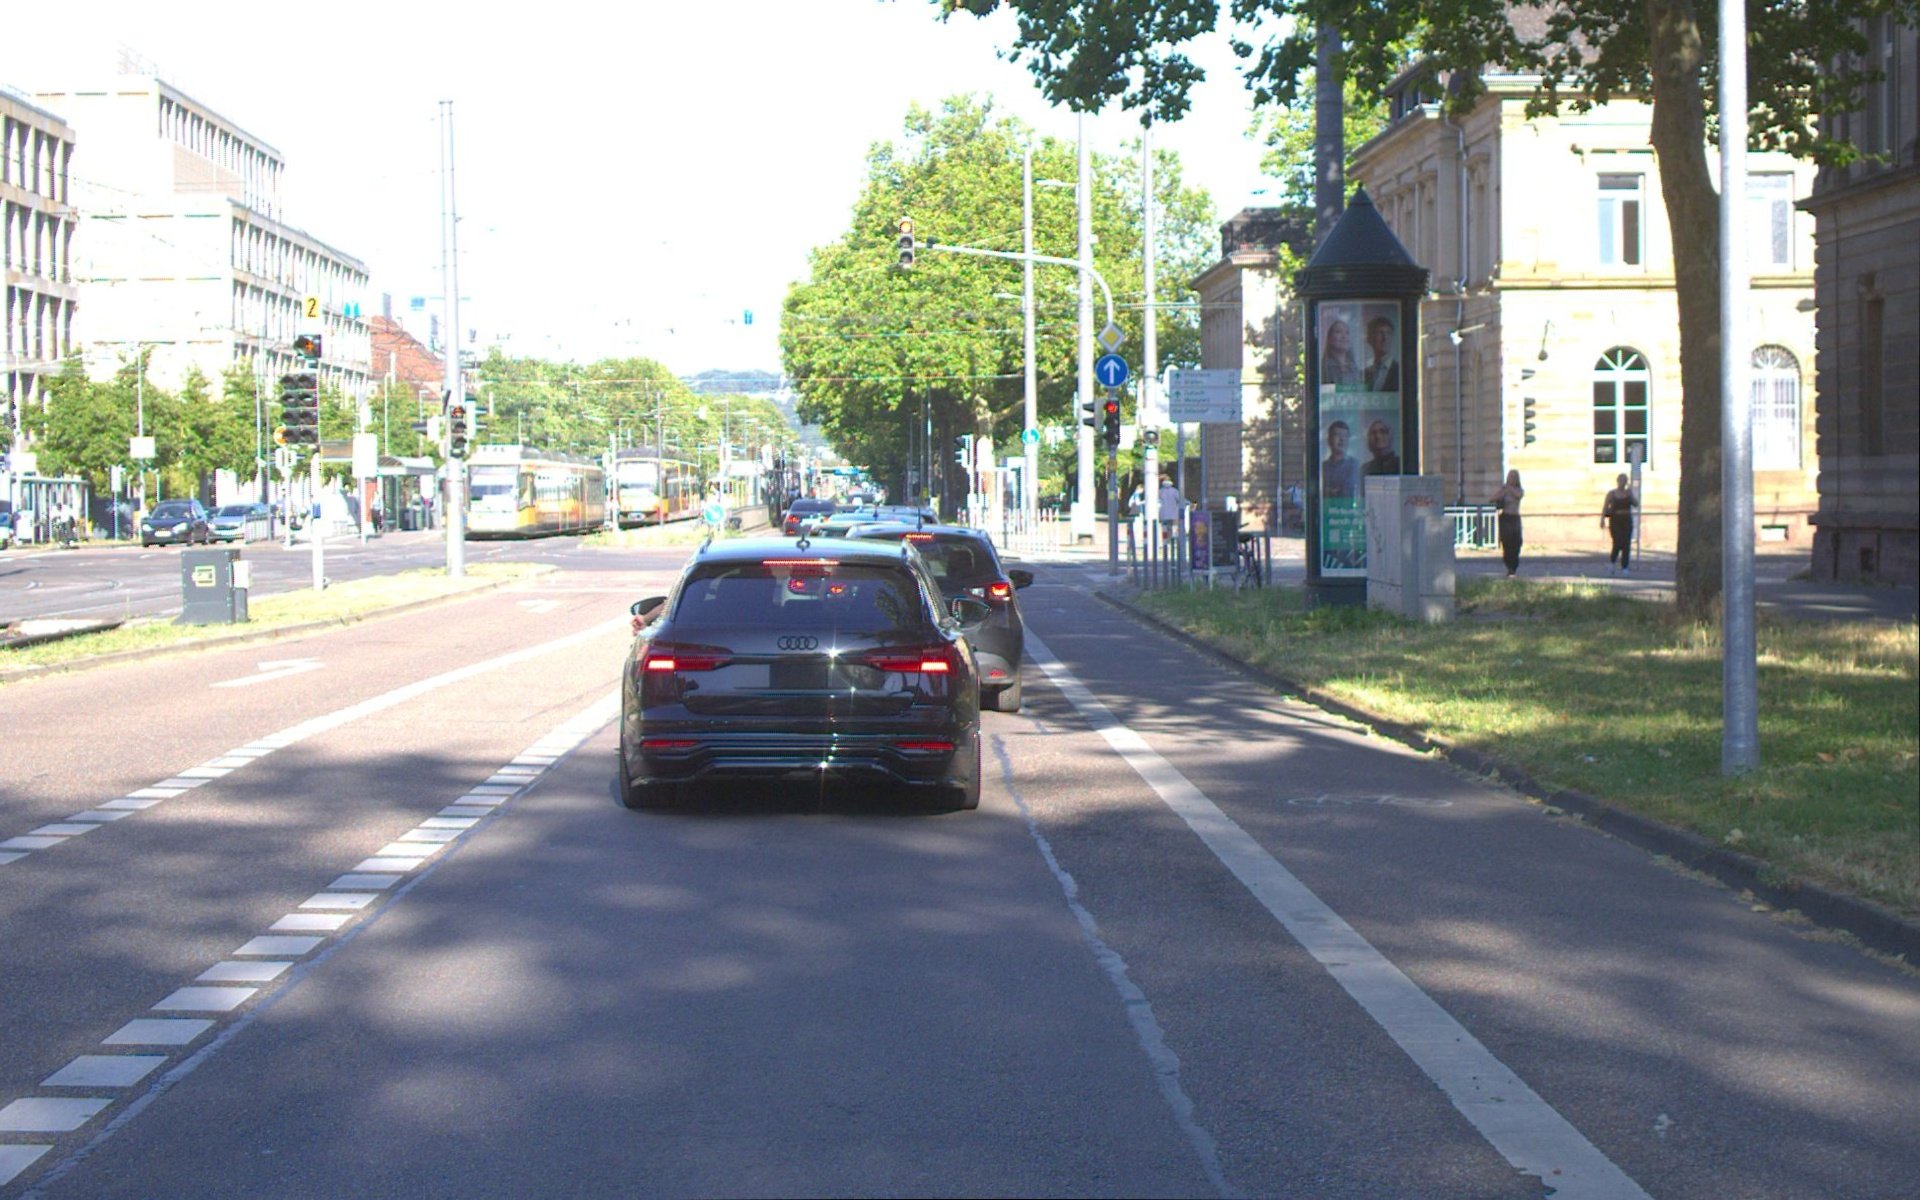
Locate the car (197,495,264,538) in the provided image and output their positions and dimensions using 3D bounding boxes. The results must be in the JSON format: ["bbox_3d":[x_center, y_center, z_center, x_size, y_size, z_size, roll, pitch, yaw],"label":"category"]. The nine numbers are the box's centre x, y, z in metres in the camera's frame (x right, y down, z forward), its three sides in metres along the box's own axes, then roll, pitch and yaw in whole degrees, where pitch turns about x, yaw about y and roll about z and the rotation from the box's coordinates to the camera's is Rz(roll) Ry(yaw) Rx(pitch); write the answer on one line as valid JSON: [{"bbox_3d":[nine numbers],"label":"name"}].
[{"bbox_3d":[-26.692,-3.064,125.872,1.794,1.505,4.001,-1,2,-4],"label":"car"}]

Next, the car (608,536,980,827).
[{"bbox_3d":[-0.890,0.363,19.075,1.833,1.386,4.160,0,2,-2],"label":"car"}]

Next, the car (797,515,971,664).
[{"bbox_3d":[-0.822,-0.158,37.825,1.794,1.505,4.001,-1,2,-1],"label":"car"}]

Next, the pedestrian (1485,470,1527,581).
[{"bbox_3d":[8.579,-1.174,54.024,0.588,1.722,0.650,2,2,11],"label":"pedestrian"}]

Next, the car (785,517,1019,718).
[{"bbox_3d":[-0.476,0.088,28.596,1.794,1.505,4.001,-1,2,-1],"label":"car"}]

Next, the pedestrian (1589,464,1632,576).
[{"bbox_3d":[10.200,-1.259,53.867,0.588,1.722,0.650,2,2,13],"label":"pedestrian"}]

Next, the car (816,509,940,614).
[{"bbox_3d":[-1.235,-0.613,52.535,1.794,1.505,4.001,-1,2,-1],"label":"car"}]

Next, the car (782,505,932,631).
[{"bbox_3d":[-1.272,-0.444,43.635,1.794,1.505,4.001,-1,2,-1],"label":"car"}]

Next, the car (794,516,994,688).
[{"bbox_3d":[-0.624,-0.030,33.087,1.794,1.505,4.001,-1,2,-1],"label":"car"}]

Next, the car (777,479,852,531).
[{"bbox_3d":[-4.444,-2.899,105.376,1.794,1.505,4.000,1,1,4],"label":"car"}]

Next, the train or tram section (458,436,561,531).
[{"bbox_3d":[-16.911,-4.379,129.483,2.825,3.439,9.065,-1,2,-1],"label":"train or tram section"}]

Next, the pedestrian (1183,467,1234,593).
[{"bbox_3d":[3.454,-0.974,47.814,0.588,1.722,0.650,2,2,11],"label":"pedestrian"}]

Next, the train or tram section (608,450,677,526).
[{"bbox_3d":[-14.814,-5.236,160.865,2.825,3.439,9.066,-1,2,-3],"label":"train or tram section"}]

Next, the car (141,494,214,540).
[{"bbox_3d":[-26.712,-2.845,117.480,1.794,1.505,4.001,-1,2,-4],"label":"car"}]
